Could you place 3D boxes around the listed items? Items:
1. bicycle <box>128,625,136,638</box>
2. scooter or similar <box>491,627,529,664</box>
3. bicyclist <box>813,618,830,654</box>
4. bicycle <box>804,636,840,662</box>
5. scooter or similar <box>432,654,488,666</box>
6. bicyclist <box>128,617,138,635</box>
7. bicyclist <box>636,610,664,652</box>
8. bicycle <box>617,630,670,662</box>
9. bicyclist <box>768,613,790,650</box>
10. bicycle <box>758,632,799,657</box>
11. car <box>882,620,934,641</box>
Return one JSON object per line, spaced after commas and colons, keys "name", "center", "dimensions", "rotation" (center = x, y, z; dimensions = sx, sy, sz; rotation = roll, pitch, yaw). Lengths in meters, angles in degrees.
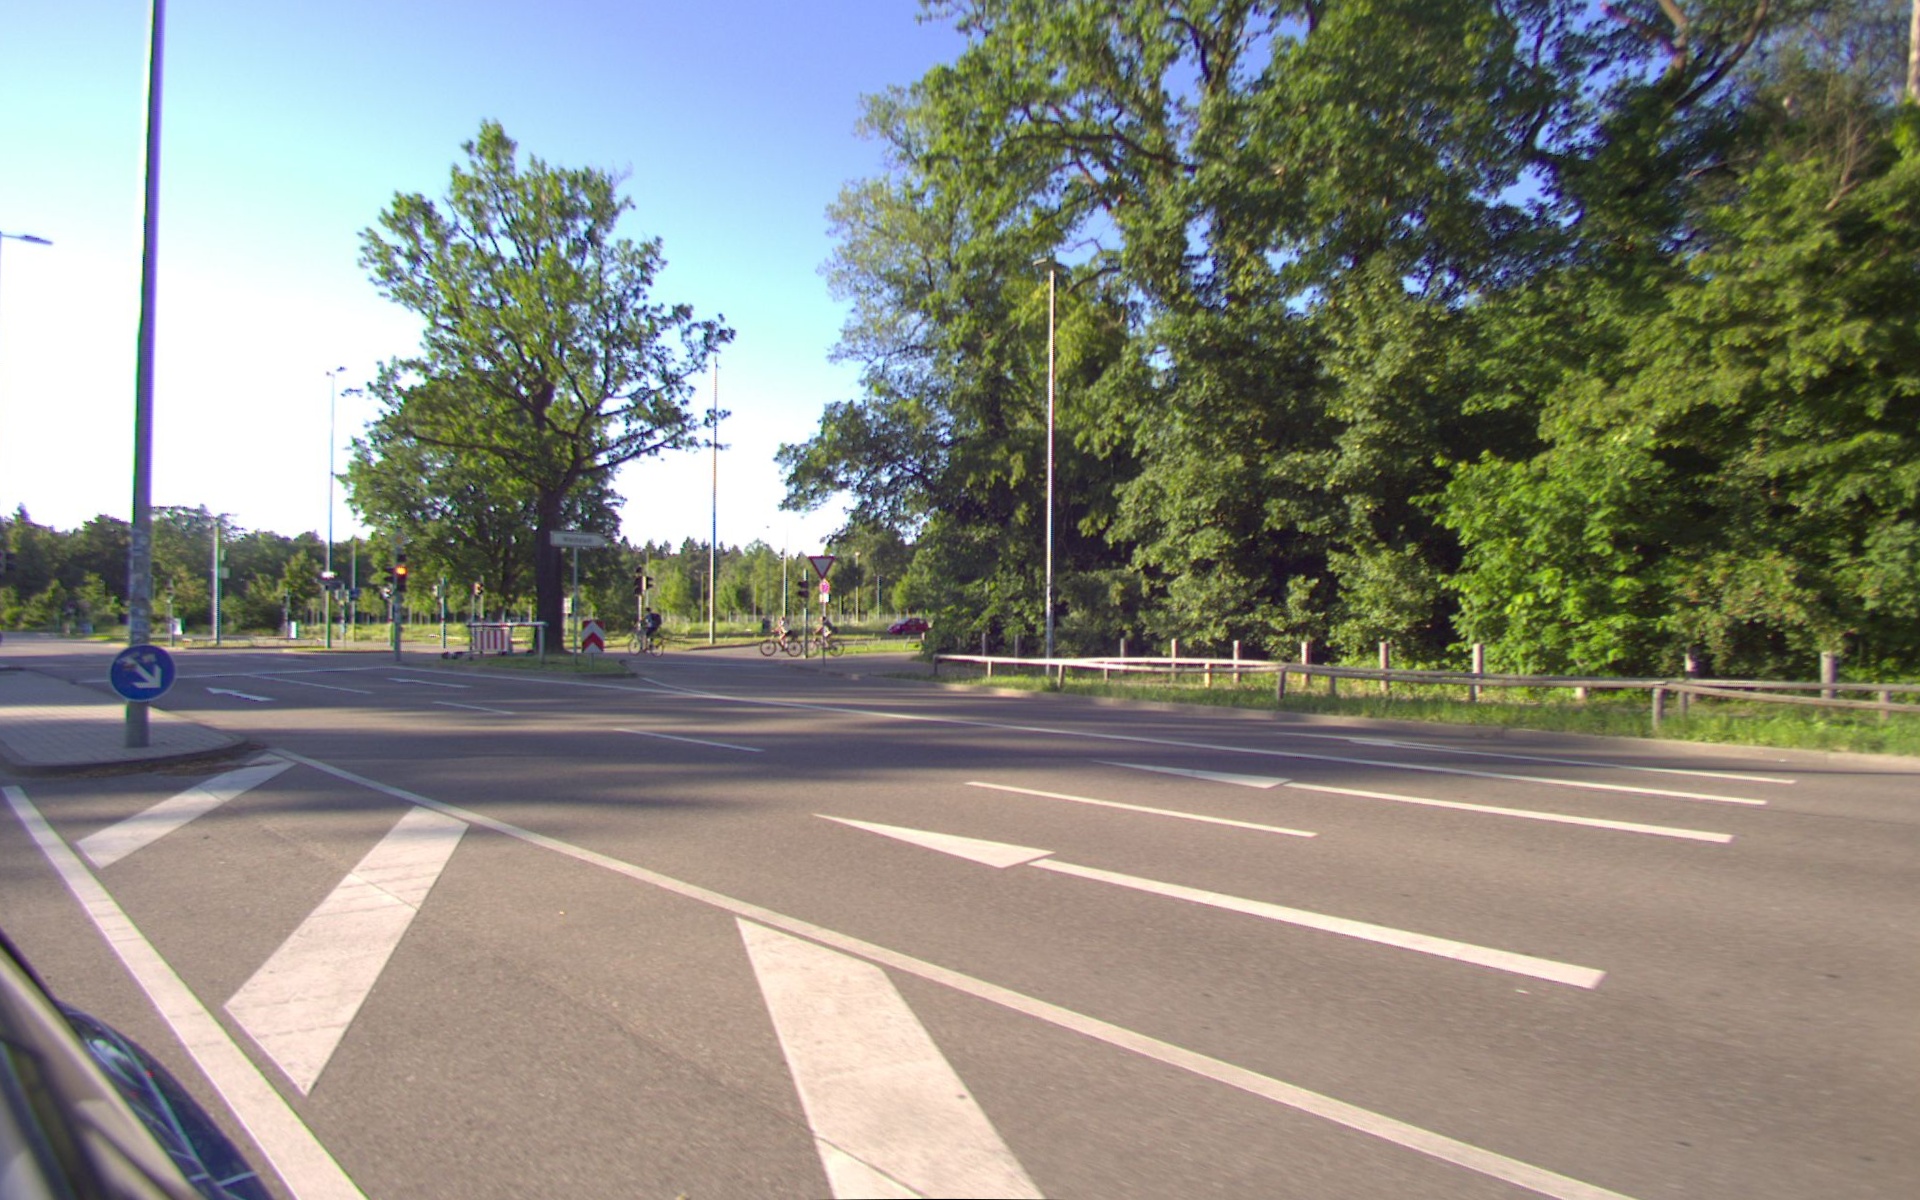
{"name": "bicycle", "center": [-77.967, 2.956, 95.319], "dimensions": [0.487, 1.247, 1.797], "rotation": [-1, 0, -43]}
{"name": "scooter or similar", "center": [-14.490, 1.470, 32.603], "dimensions": [1.054, 1.155, 0.395], "rotation": [1, -3, -41]}
{"name": "bicyclist", "center": [-5.590, 1.438, 40.813], "dimensions": [0.520, 1.411, 0.520], "rotation": [-1, 0, -23]}
{"name": "bicycle", "center": [-5.556, 1.965, 40.816], "dimensions": [1.332, 0.984, 0.524], "rotation": [-1, 0, -24]}
{"name": "scooter or similar", "center": [-16.330, 1.938, 33.042], "dimensions": [1.390, 0.342, 1.262], "rotation": [1, -3, -41]}
{"name": "bicyclist", "center": [-77.950, 2.467, 95.341], "dimensions": [0.672, 1.623, 0.801], "rotation": [-1, 0, -42]}
{"name": "bicyclist", "center": [-11.687, 1.166, 38.173], "dimensions": [0.797, 1.563, 0.558], "rotation": [-4, -3, 29]}
{"name": "bicycle", "center": [-11.990, 1.747, 38.309], "dimensions": [1.974, 1.163, 0.676], "rotation": [-3, -2, 28]}
{"name": "bicyclist", "center": [-7.570, 1.315, 42.271], "dimensions": [0.789, 1.494, 0.730], "rotation": [-1, 0, -1]}
{"name": "bicycle", "center": [-7.567, 1.847, 42.268], "dimensions": [1.568, 0.984, 0.785], "rotation": [-1, 0, -1]}
{"name": "car", "center": [-4.145, 2.384, 80.826], "dimensions": [3.934, 1.521, 1.660], "rotation": [-1, 0, -36]}
